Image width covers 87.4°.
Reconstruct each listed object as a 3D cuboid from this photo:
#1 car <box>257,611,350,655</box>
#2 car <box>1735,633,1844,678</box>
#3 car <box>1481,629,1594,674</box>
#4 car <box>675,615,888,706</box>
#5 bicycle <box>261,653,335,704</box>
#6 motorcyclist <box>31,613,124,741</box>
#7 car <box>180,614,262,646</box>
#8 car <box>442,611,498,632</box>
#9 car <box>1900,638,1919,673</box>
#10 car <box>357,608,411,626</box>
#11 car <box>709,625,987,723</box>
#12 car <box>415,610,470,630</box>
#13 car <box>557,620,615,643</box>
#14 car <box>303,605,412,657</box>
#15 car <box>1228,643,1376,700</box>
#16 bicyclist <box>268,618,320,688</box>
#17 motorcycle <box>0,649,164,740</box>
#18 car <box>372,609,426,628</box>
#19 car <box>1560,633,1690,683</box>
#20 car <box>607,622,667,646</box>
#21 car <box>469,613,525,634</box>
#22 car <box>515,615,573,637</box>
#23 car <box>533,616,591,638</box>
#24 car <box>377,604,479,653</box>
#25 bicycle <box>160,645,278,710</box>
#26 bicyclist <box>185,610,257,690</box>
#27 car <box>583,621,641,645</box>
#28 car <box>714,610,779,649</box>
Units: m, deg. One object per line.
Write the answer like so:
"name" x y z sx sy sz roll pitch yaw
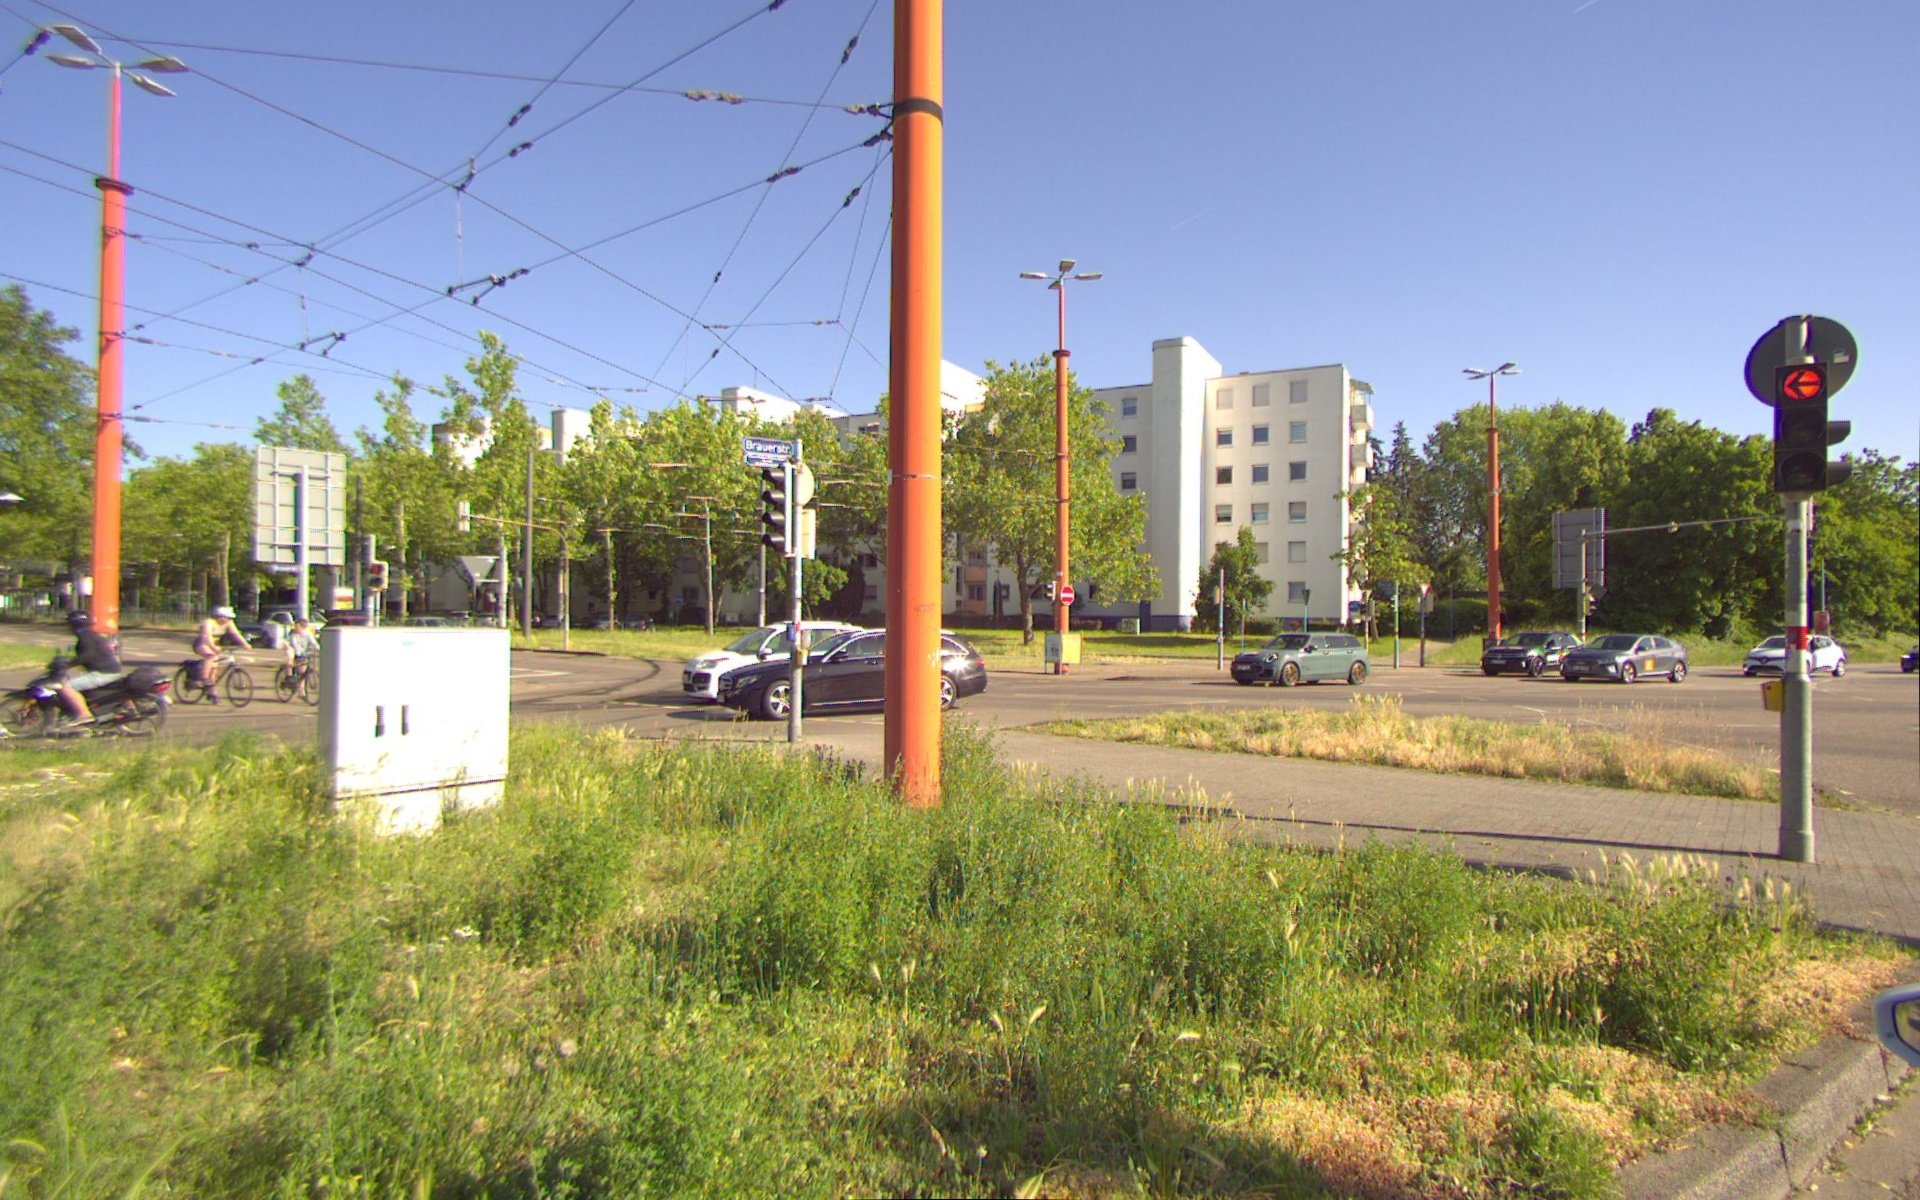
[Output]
"car" -28.951 1.438 44.295 3.929 1.773 1.909 1 0 31
"car" 28.800 1.907 34.872 3.901 1.478 1.598 1 -1 -29
"car" 19.496 1.728 33.896 3.838 1.452 1.538 2 -3 -29
"car" -3.709 1.234 20.951 4.010 1.730 1.793 2 -2 -29
"bicycle" -13.118 1.544 19.898 1.594 0.894 0.368 1 0 22
"motorcyclist" -11.637 0.992 13.271 0.631 1.621 0.833 2 0 -21
"car" -34.814 1.380 47.329 3.929 1.339 1.732 1 0 31
"car" -41.758 1.848 85.650 3.934 1.617 1.890 2 0 -15
"car" 39.682 2.223 40.203 4.737 1.386 1.622 1 -1 -29
"car" -53.667 1.588 93.668 3.934 1.617 1.890 2 0 -15
"car" -1.948 1.263 17.898 4.551 1.505 1.867 2 0 -30
"car" -45.128 1.771 87.625 3.934 1.617 1.890 2 0 -15
"car" -28.133 2.353 75.677 3.934 1.617 1.890 2 0 -15
"car" -24.283 1.218 40.443 4.200 1.926 1.996 1 0 31
"car" 9.369 1.914 27.438 4.088 1.406 1.424 2 0 -28
"bicyclist" -13.220 1.034 19.938 0.687 1.340 0.548 1 0 22
"motorcycle" -11.831 1.230 13.216 2.065 1.146 0.420 2 0 -22
"car" -50.994 1.641 91.387 3.934 1.617 1.890 2 0 -15
"car" 20.088 1.720 30.298 4.211 1.395 1.541 1 -1 -30
"car" -23.180 2.461 72.237 3.934 1.617 1.890 2 0 -15
"car" -38.559 1.920 83.768 3.934 1.617 1.890 2 0 -15
"car" -32.854 2.040 79.408 3.934 1.617 1.890 2 0 -15
"car" -30.774 2.083 77.763 3.934 1.617 1.890 2 0 -15
"car" -23.007 1.190 43.392 4.200 1.926 1.996 1 0 31
"bicycle" -13.984 1.438 18.946 2.313 1.095 0.474 1 0 17
"bicyclist" -13.903 0.919 18.911 0.742 1.449 0.752 1 0 16
"car" -25.669 2.409 74.216 3.934 1.617 1.890 2 0 -15
"car" -13.839 1.903 65.037 3.934 2.341 1.889 2 0 -15
